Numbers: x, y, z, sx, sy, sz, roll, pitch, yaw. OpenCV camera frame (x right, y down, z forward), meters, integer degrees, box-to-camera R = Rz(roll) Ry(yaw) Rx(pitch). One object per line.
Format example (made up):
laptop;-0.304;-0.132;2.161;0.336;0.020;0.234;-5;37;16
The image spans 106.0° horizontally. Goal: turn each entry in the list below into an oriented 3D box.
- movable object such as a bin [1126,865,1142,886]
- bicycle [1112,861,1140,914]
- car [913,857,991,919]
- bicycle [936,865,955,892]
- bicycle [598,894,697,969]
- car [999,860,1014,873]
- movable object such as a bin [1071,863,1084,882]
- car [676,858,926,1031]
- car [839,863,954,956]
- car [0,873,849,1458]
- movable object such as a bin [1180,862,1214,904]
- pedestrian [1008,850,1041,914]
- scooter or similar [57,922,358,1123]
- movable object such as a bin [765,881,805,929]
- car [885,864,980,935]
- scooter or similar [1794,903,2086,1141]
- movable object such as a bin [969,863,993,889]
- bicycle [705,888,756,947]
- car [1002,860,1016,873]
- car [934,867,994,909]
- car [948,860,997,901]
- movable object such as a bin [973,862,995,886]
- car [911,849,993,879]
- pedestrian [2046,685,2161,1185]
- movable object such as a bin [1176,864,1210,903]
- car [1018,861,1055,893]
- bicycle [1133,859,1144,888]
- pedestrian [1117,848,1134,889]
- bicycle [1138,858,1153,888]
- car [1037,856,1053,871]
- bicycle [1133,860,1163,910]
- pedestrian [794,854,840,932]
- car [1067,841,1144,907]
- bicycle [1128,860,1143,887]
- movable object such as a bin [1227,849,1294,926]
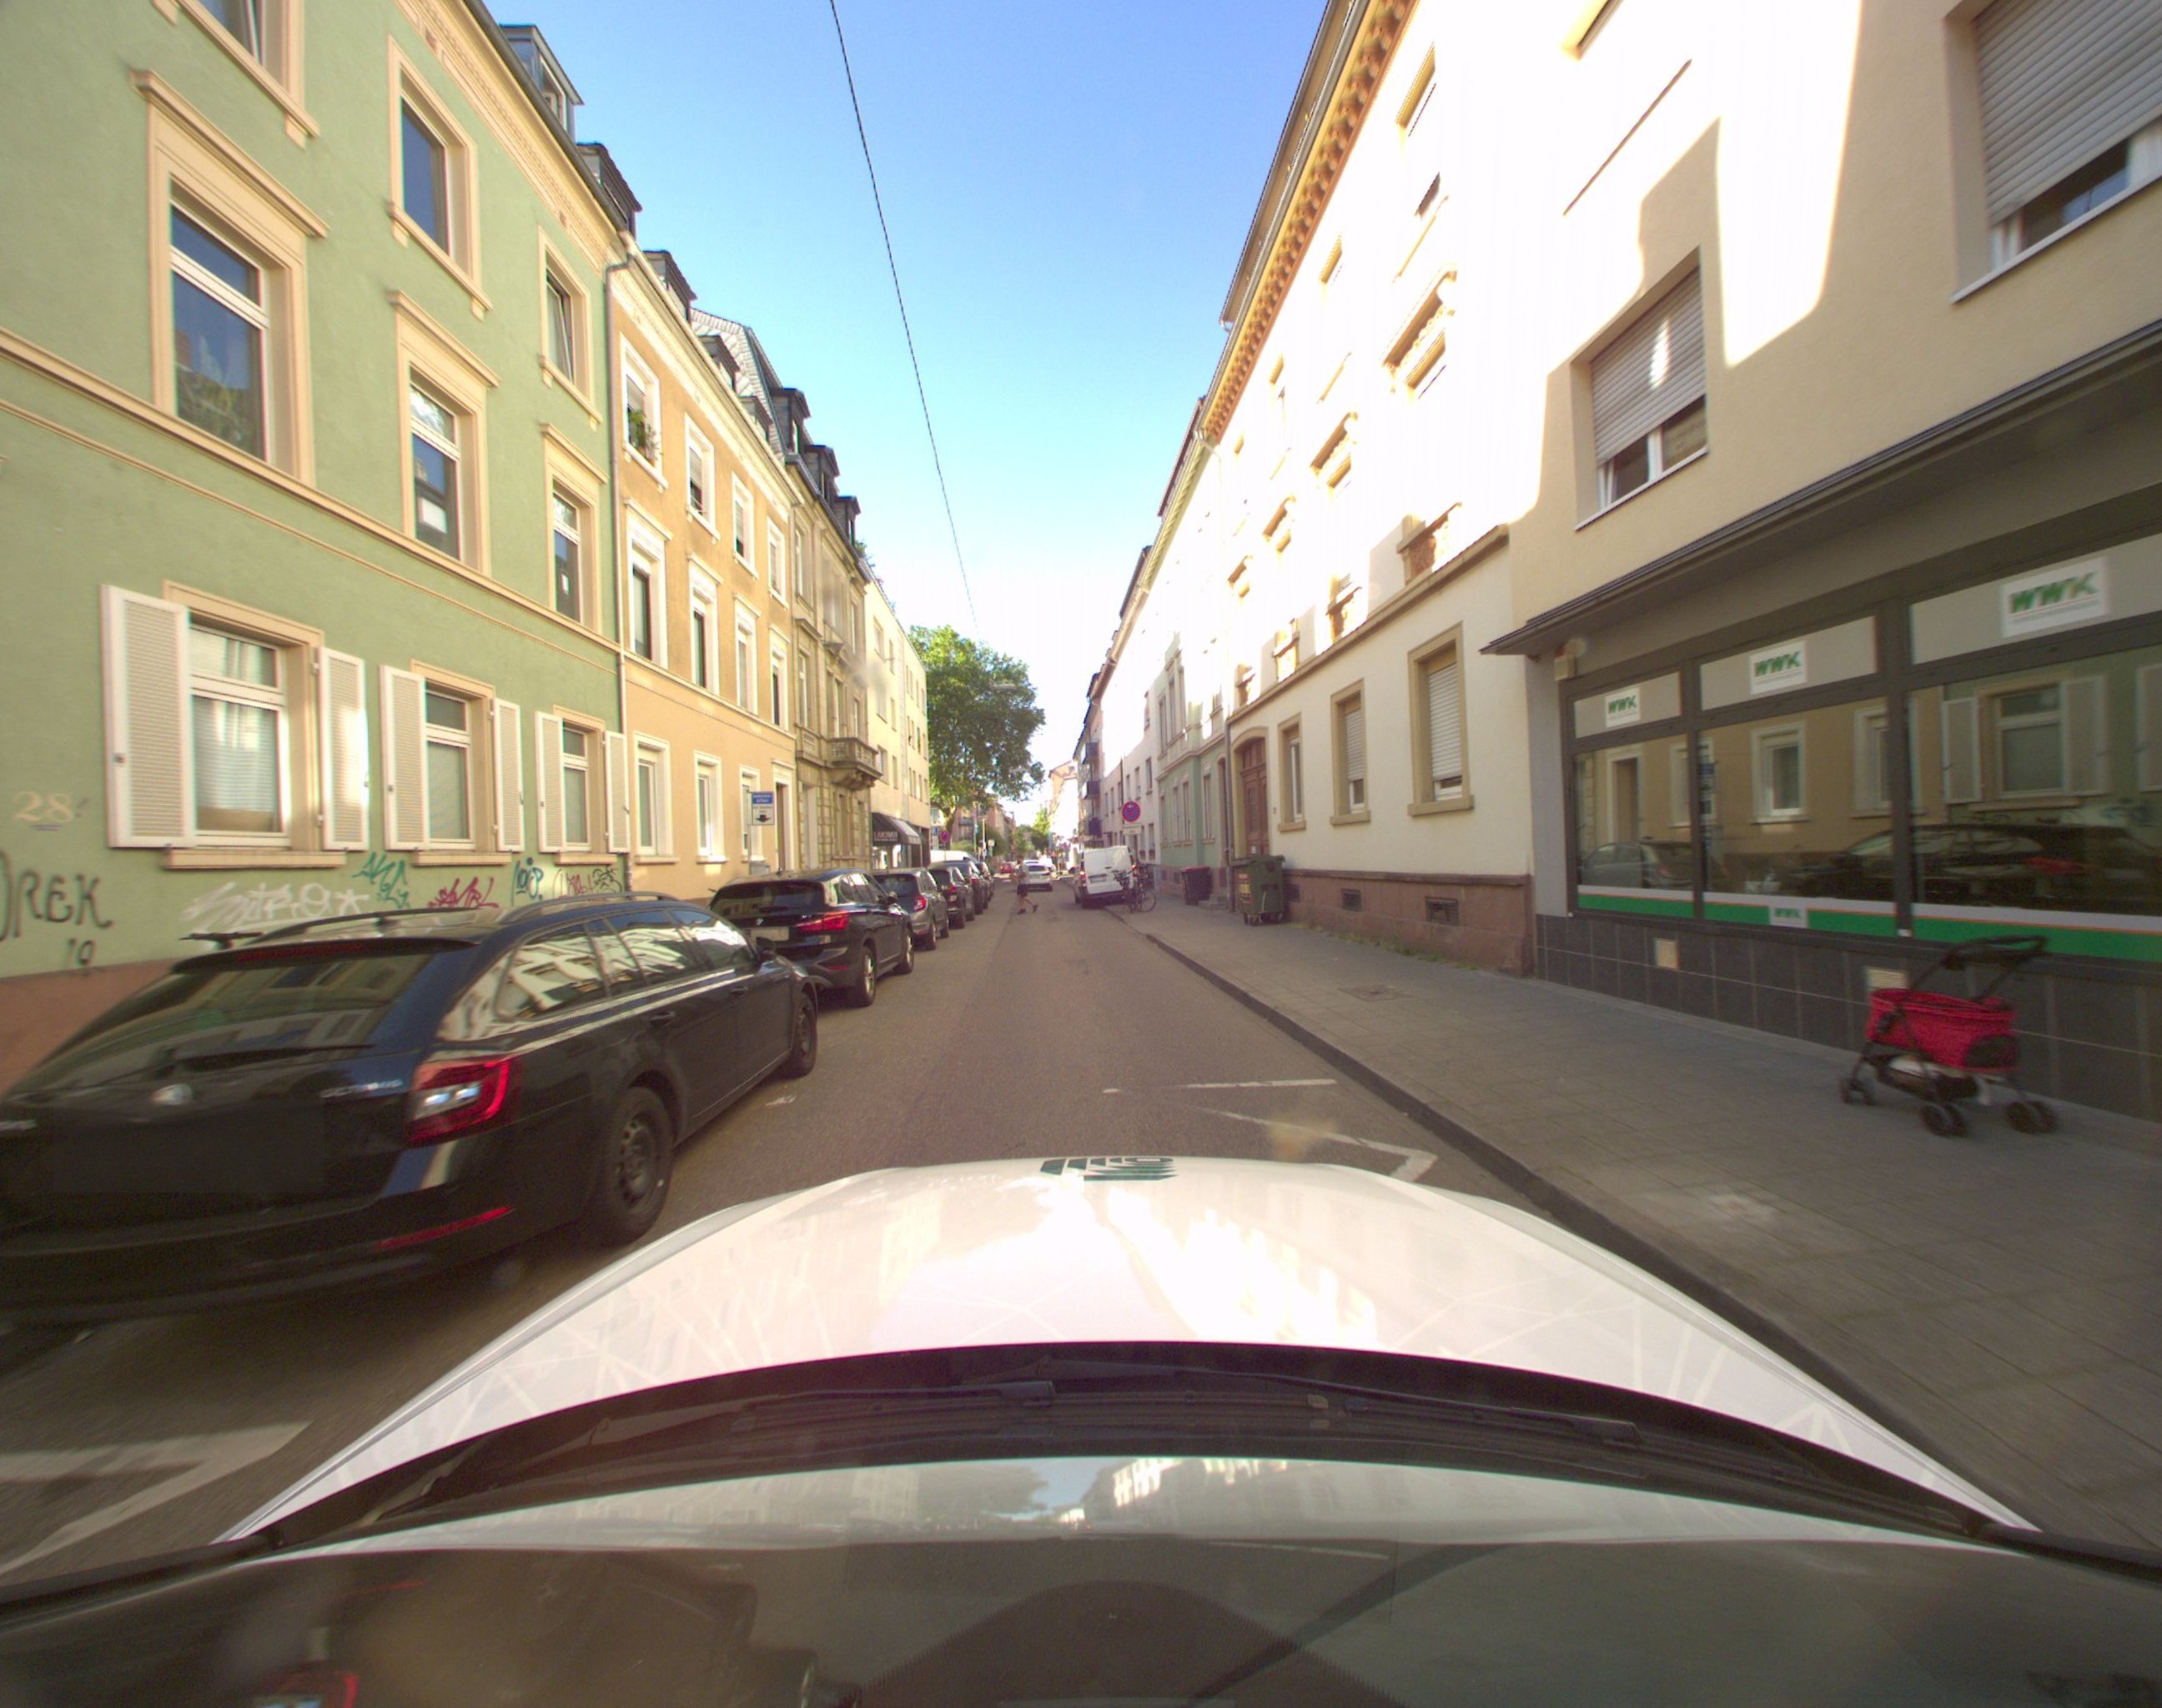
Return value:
movable object such as a bin;2.465;0.979;37.875;0.576;0.924;0.607;-5;0;-4
bicycle;1.216;0.888;22.403;0.573;1.320;2.199;-3;0;0
car;-4.098;1.018;26.668;1.932;1.736;5.135;-3;0;-3
bicycle;-6.912;1.235;41.592;0.463;1.332;1.856;1;-2;5
bicycle;-6.949;1.211;13.171;0.359;1.028;1.920;-3;-1;6
car;-9.771;1.666;107.189;1.766;1.589;3.721;-3;0;-4
movable object such as a bin;-0.200;1.114;48.241;0.730;1.081;0.703;-3;-1;-3
car;-3.295;0.933;10.625;1.740;1.615;4.598;-4;0;-3
car;-3.573;1.004;16.407;1.612;1.554;3.971;-3;0;-4
car;-2.820;0.965;4.792;1.711;1.488;4.845;-5;0;-4
movable object such as a bin;3.219;0.803;22.719;0.795;1.096;0.641;-3;-1;-2
pedestrian;-1.688;0.819;24.331;0.864;1.836;0.882;-2;-1;-5
scooter or similar;-6.499;1.175;6.201;0.452;1.181;1.690;-3;-1;0
movable object such as a bin;-7.202;1.234;19.840;0.735;1.089;0.681;-2;1;-7
car;-3.740;1.077;21.167;1.709;1.531;4.363;-3;0;-2
scooter or similar;4.114;0.760;3.976;0.488;0.944;0.869;-4;1;3
movable object such as a bin;-6.028;1.314;49.147;1.331;1.484;1.092;-4;-1;-4
bicycle;-7.079;1.253;16.515;0.401;1.056;1.832;-2;-1;-6
car;-9.905;1.668;112.785;1.716;1.682;3.722;-3;-1;-3
car;-4.565;1.280;32.436;1.841;1.417;4.811;-4;-1;-3
car;-4.963;1.172;37.798;1.779;1.666;4.664;-4;0;-3
movable object such as a bin;-6.218;1.304;52.286;1.332;1.491;1.080;-2;-1;-4
car;-11.088;0.871;70.306;6.721;2.555;2.144;1;-1;-2
pedestrian;4.341;0.283;3.031;0.651;1.860;0.742;-5;0;-25
movable object such as a bin;3.205;0.841;23.389;0.810;1.088;0.673;-3;-1;-2
car;-2.362;1.166;42.977;1.820;1.514;3.818;-2;0;-4
bicycle;2.504;0.830;35.519;0.436;1.206;2.268;-3;-1;3
pedestrian;1.948;0.627;35.463;0.651;1.711;0.687;-3;-1;6
bicycle;2.700;0.800;34.196;0.404;1.206;2.159;-3;-1;0
car;-4.916;1.327;110.754;1.940;1.948;4.069;-1;-1;-6
bicycle;1.847;0.837;22.770;0.573;1.271;2.199;-4;0;1
pedestrian;-5.975;0.859;18.492;0.763;1.714;0.882;-1;0;-4
car;0.729;0.635;28.341;1.980;1.883;5.592;-6;0;-4
bicycle;2.431;0.860;36.605;0.566;1.153;1.868;-3;-1;1
movable object such as a bin;3.525;0.655;16.139;0.836;1.389;1.295;-5;-2;-5
